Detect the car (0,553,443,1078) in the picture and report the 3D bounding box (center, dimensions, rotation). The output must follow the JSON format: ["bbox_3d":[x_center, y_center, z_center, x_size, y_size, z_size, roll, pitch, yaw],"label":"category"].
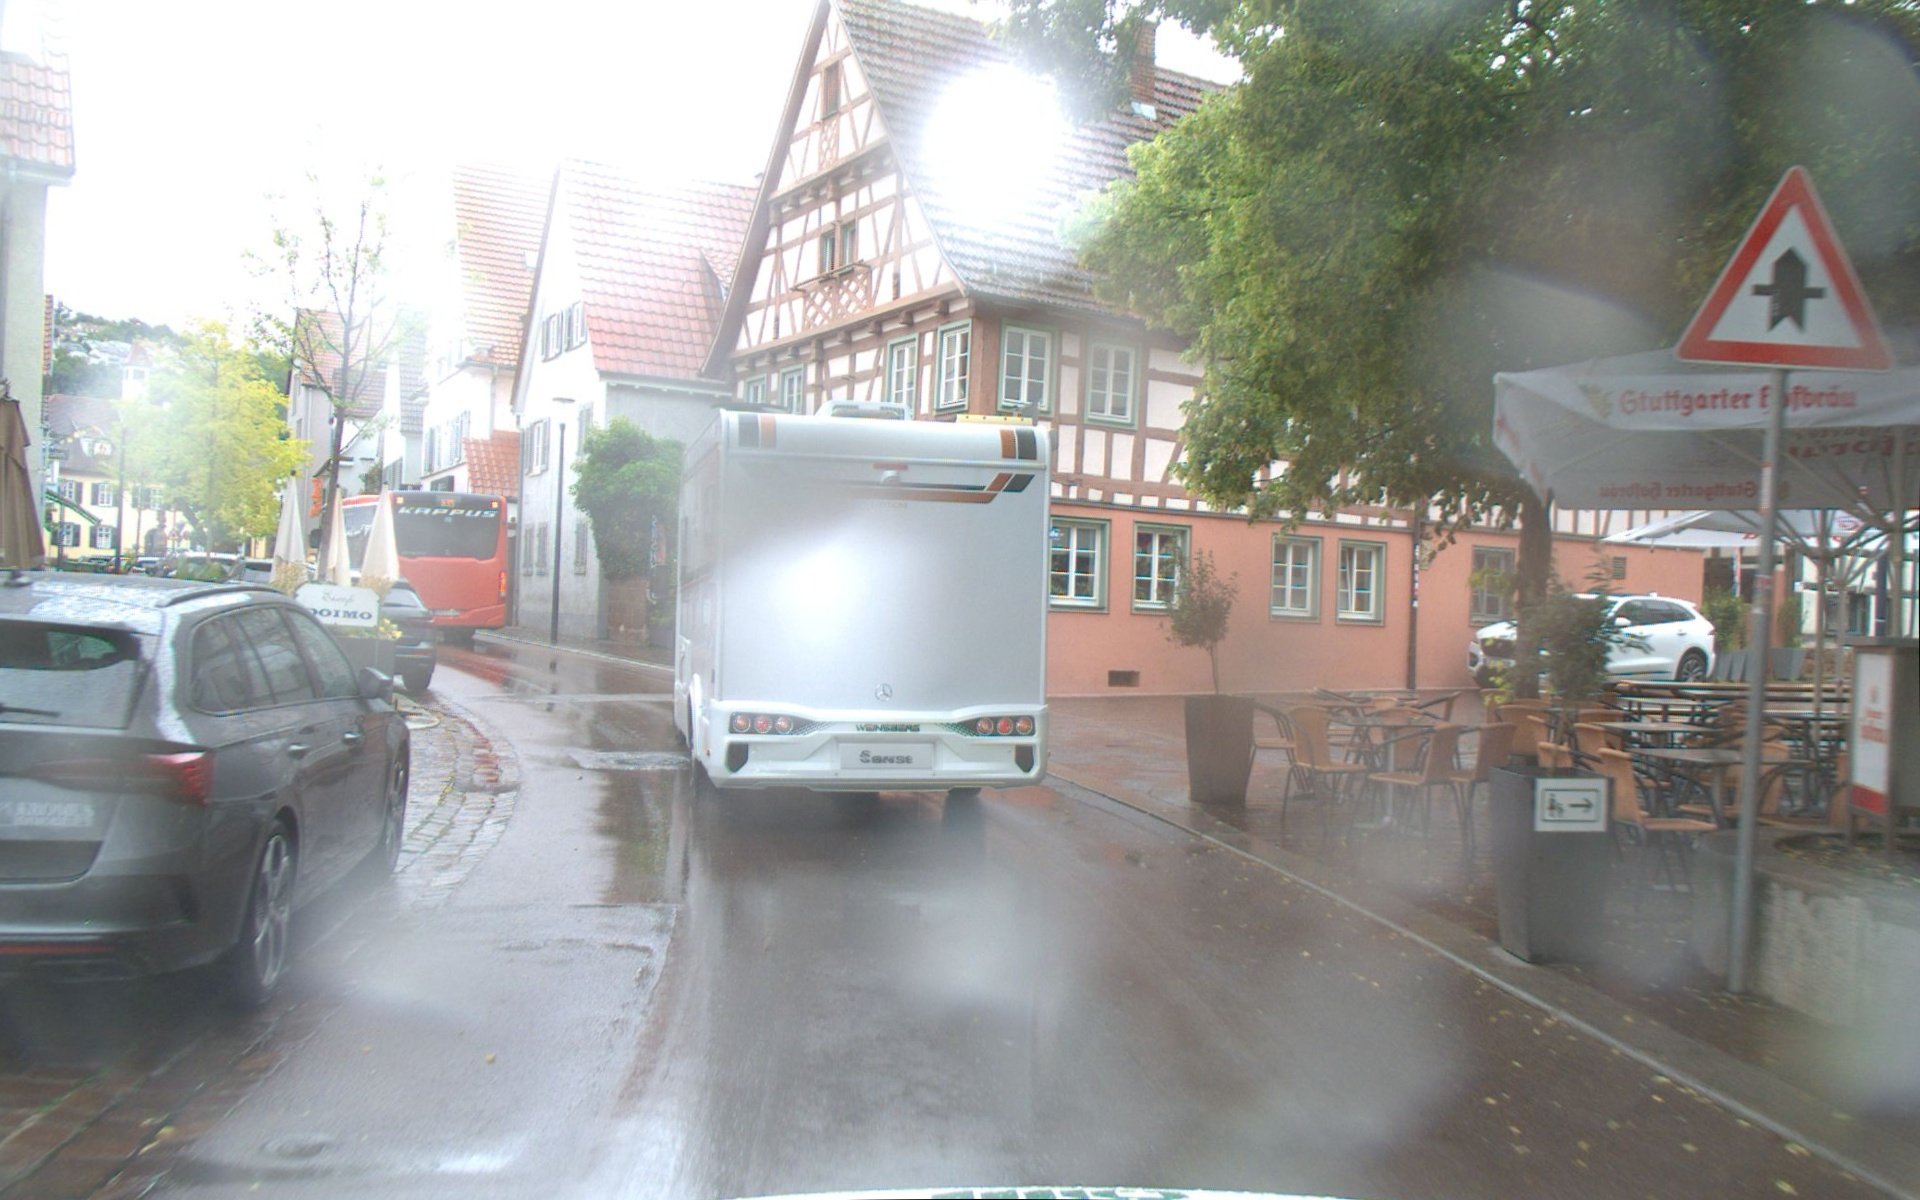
[{"bbox_3d":[-3.460,0.613,6.756,1.957,1.480,4.364,1,-1,-10],"label":"car"}]

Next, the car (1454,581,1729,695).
[{"bbox_3d":[10.480,0.631,27.375,4.407,1.659,1.925,2,2,-32],"label":"car"}]

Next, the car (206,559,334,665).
[{"bbox_3d":[-11.193,0.193,26.701,1.574,1.573,3.941,2,-1,-27],"label":"car"}]

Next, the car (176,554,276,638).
[{"bbox_3d":[-16.498,-0.077,37.071,1.751,1.704,4.439,3,-2,-27],"label":"car"}]

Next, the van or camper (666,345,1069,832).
[{"bbox_3d":[-1.099,-0.027,13.459,2.285,2.970,6.373,1,-1,-12],"label":"van or camper"}]

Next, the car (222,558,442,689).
[{"bbox_3d":[-8.574,0.254,22.325,1.785,1.457,4.575,4,0,-33],"label":"car"}]

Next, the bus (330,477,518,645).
[{"bbox_3d":[-11.807,-0.750,36.042,2.612,3.283,6.538,2,-1,-29],"label":"bus"}]
